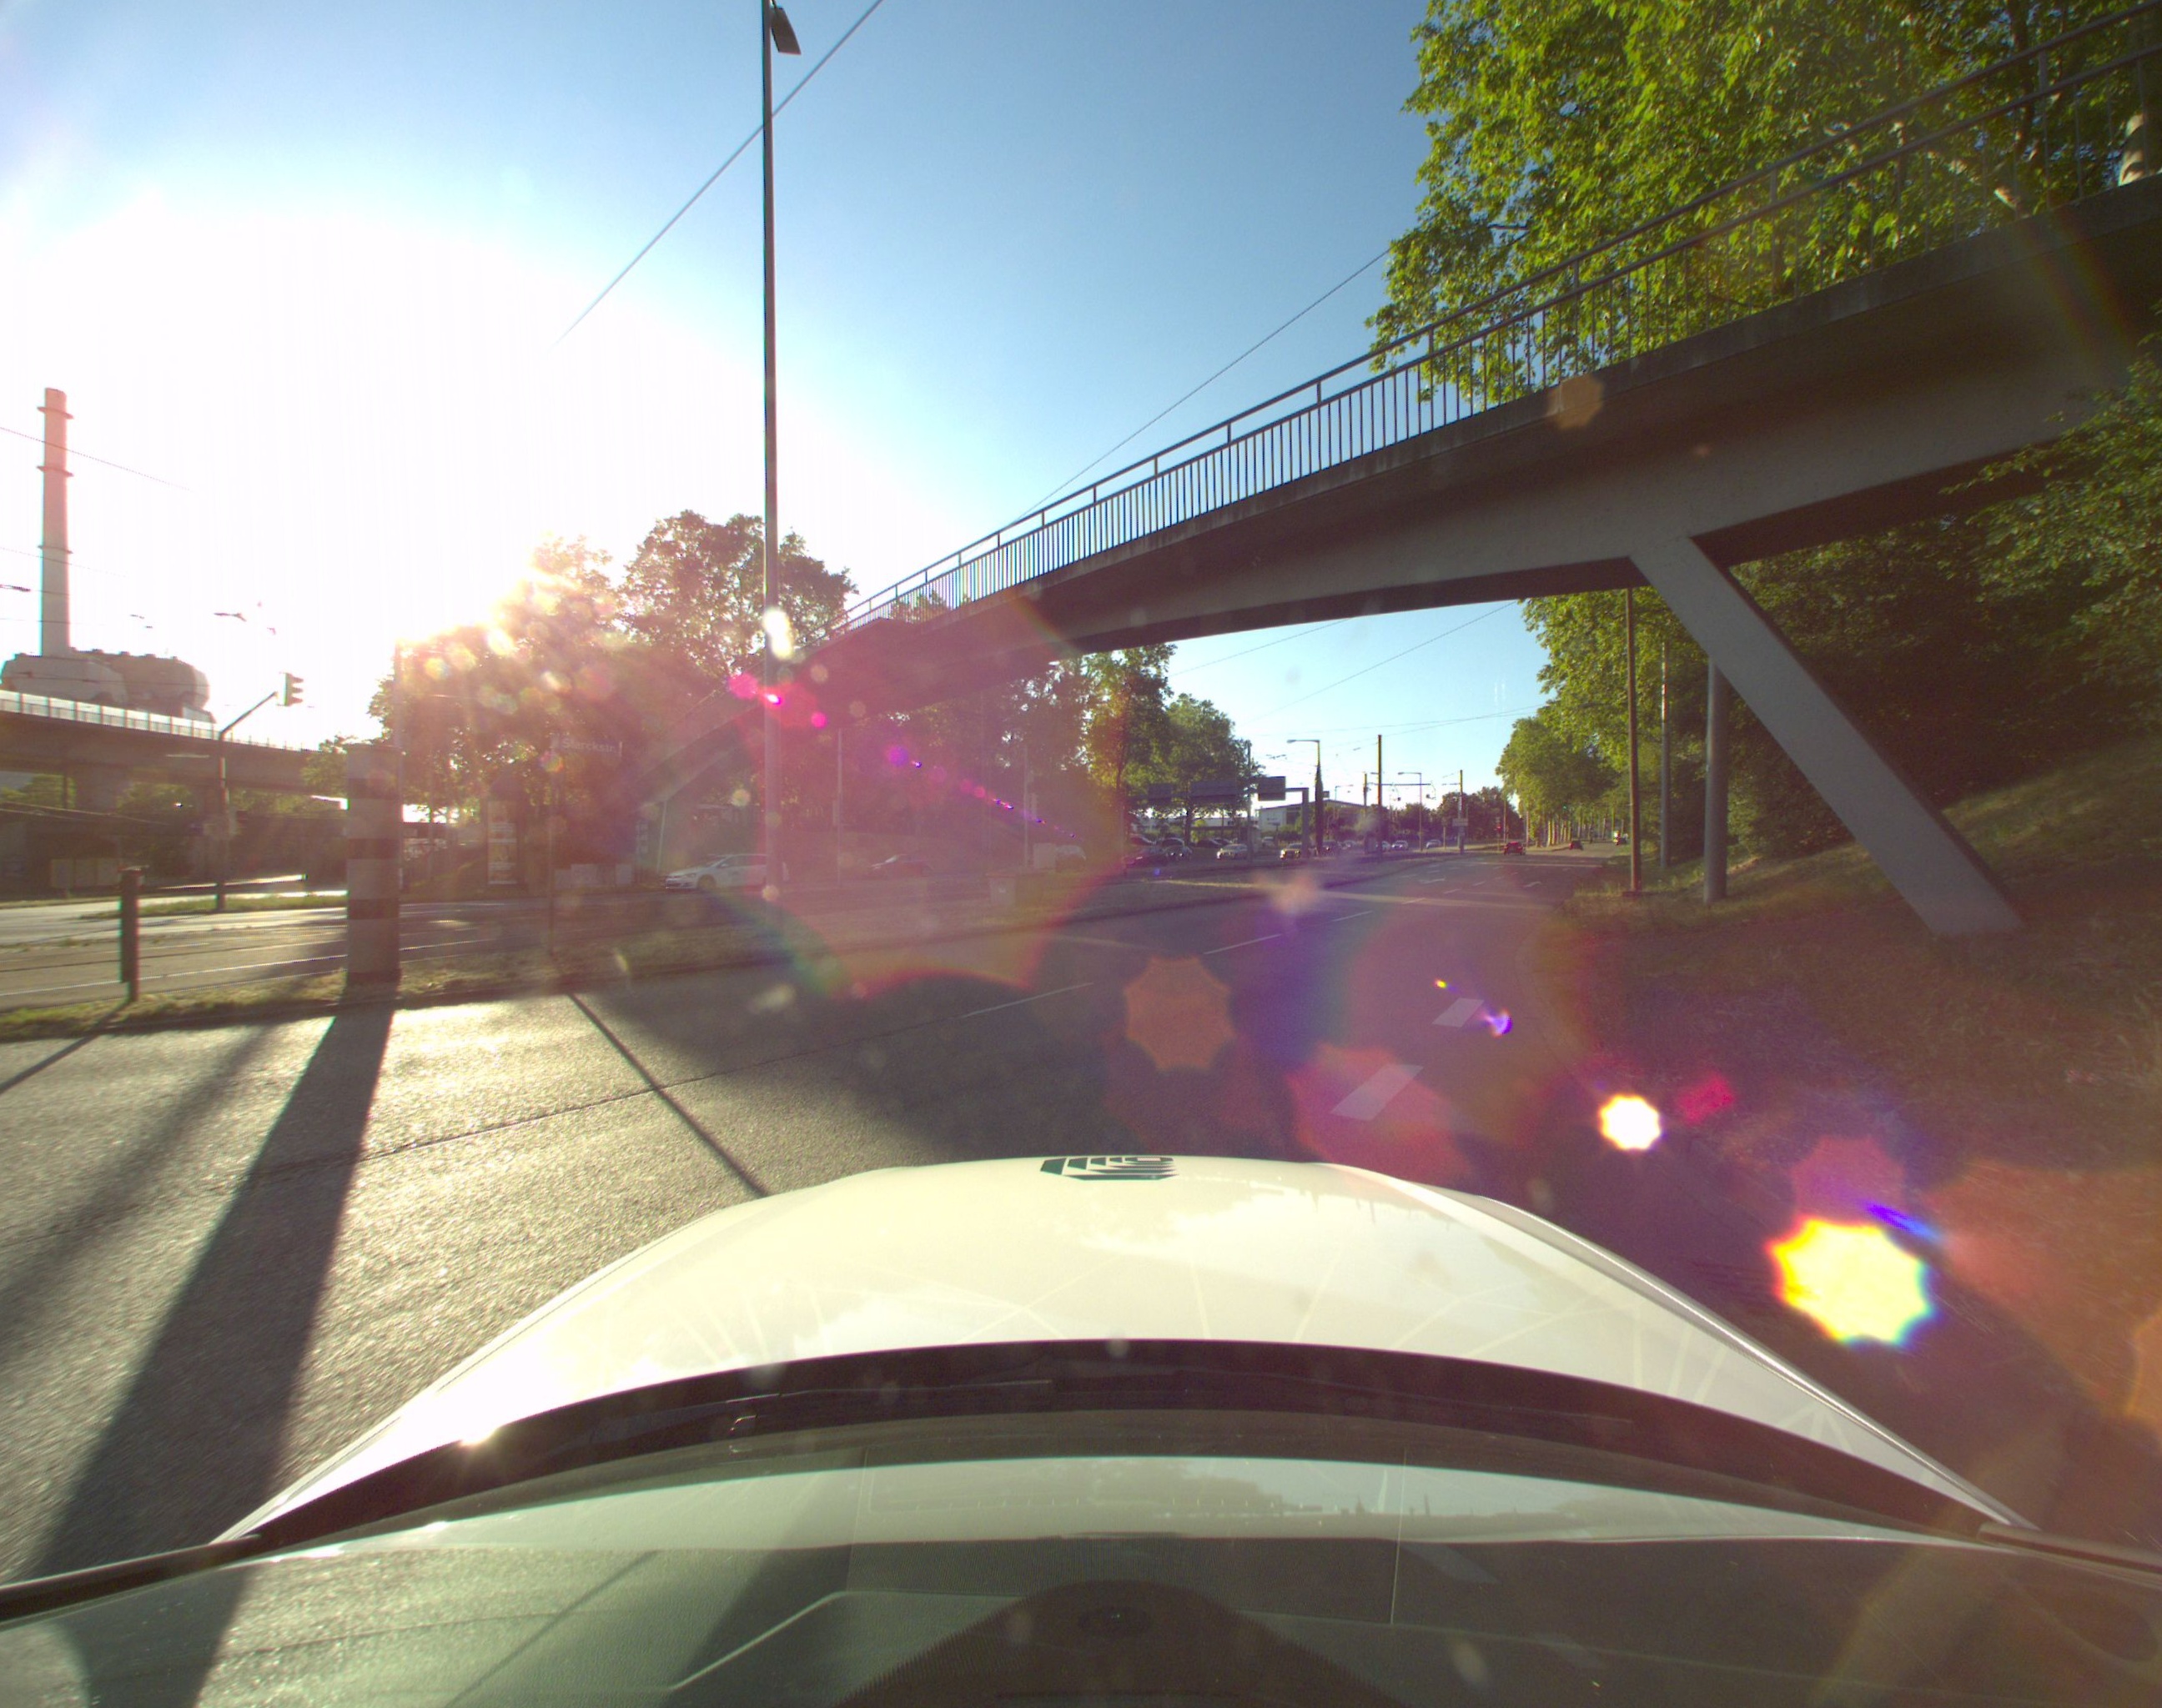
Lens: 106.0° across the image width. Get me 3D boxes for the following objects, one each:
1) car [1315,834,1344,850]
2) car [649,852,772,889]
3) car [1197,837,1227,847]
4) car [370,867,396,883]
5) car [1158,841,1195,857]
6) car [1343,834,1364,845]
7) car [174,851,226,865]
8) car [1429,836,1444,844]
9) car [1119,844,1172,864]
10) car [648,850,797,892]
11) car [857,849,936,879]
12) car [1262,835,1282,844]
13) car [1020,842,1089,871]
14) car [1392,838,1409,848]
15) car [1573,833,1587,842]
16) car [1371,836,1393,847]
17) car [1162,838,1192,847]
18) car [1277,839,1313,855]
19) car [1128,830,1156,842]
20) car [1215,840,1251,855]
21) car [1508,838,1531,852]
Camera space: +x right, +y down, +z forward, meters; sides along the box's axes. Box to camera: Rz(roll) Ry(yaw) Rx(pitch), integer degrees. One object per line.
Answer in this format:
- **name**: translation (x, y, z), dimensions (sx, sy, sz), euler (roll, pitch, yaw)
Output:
- **car**: translation (27.260, -1.314, 89.401), dimensions (1.821, 1.654, 4.465), euler (1, 2, 34)
- **car**: translation (-15.506, 0.642, 34.298), dimensions (1.986, 1.443, 4.280), euler (0, 1, 36)
- **car**: translation (19.015, -1.763, 118.554), dimensions (4.017, 1.386, 1.795), euler (2, 2, 41)
- **car**: translation (-77.399, 2.344, 90.384), dimensions (1.723, 1.652, 4.174), euler (0, 0, -34)
- **car**: translation (8.906, -0.498, 75.819), dimensions (1.670, 1.415, 4.219), euler (1, 1, 33)
- **car**: translation (40.547, -2.161, 121.249), dimensions (1.821, 1.481, 4.629), euler (1, 2, 34)
- **car**: translation (-107.468, 0.512, 99.451), dimensions (1.988, 1.771, 3.997), euler (0, -1, -2)
- **car**: translation (60.993, -2.401, 139.802), dimensions (1.637, 1.415, 4.286), euler (1, 2, 34)
- **car**: translation (4.559, -0.036, 57.184), dimensions (1.670, 1.310, 4.337), euler (0, 1, 36)
- **car**: translation (-13.559, 0.595, 31.113), dimensions (1.986, 1.443, 4.891), euler (0, 1, 36)
- **car**: translation (-10.815, 0.529, 47.933), dimensions (1.773, 1.650, 4.384), euler (0, 0, 40)
- **car**: translation (31.461, -2.331, 134.193), dimensions (1.823, 1.442, 4.026), euler (2, 2, 37)
- **car**: translation (-1.495, 0.114, 47.891), dimensions (1.773, 1.650, 4.385), euler (0, 1, 36)
- **car**: translation (47.835, -1.717, 121.851), dimensions (1.637, 1.415, 4.286), euler (1, 2, 33)
- **car**: translation (75.429, -2.530, 123.103), dimensions (1.775, 1.403, 3.712), euler (1, 1, 31)
- **car**: translation (40.566, -1.676, 109.561), dimensions (1.820, 1.415, 4.629), euler (0, 1, 33)
- **car**: translation (14.389, -1.729, 121.864), dimensions (4.016, 1.386, 1.795), euler (2, 2, 36)
- **car**: translation (19.161, -0.635, 72.763), dimensions (1.820, 1.416, 4.044), euler (0, 1, 36)
- **car**: translation (9.364, -2.719, 125.101), dimensions (3.948, 1.859, 2.013), euler (1, 1, 38)
- **car**: translation (14.527, -0.617, 77.529), dimensions (1.670, 1.415, 4.466), euler (1, 1, 35)
- **car**: translation (47.612, -0.961, 88.414), dimensions (1.775, 1.403, 3.712), euler (0, 0, 35)
